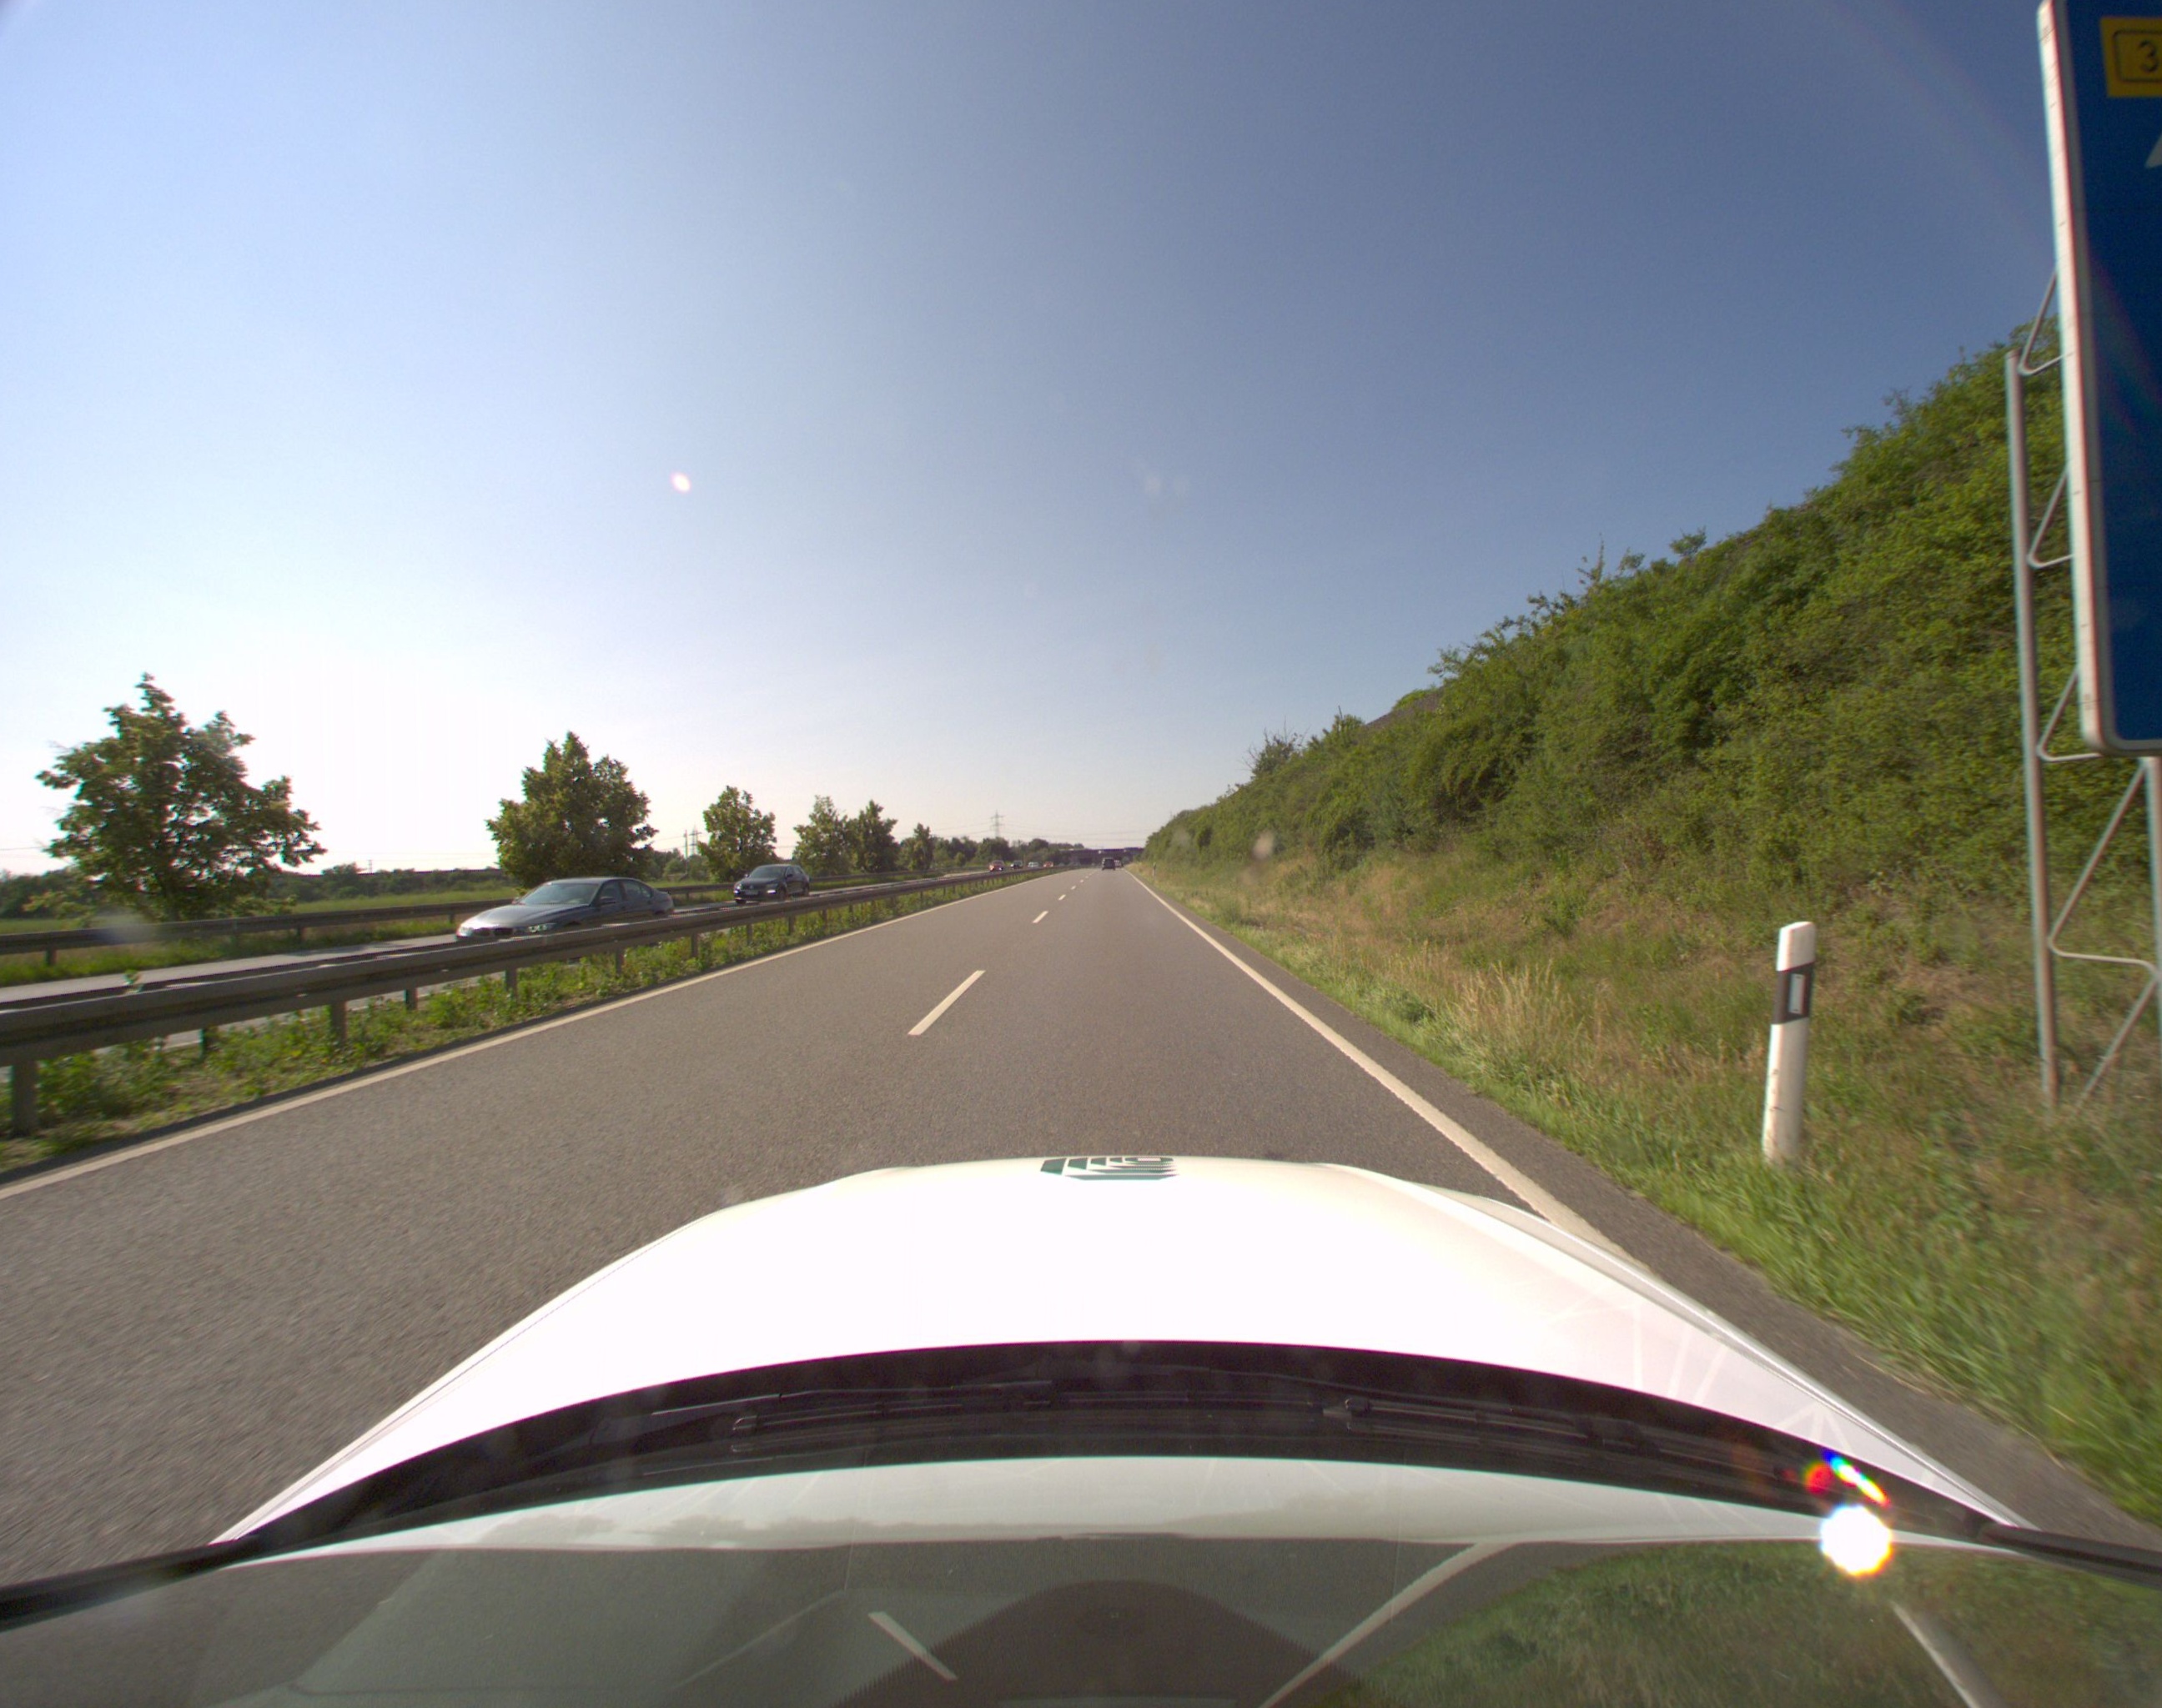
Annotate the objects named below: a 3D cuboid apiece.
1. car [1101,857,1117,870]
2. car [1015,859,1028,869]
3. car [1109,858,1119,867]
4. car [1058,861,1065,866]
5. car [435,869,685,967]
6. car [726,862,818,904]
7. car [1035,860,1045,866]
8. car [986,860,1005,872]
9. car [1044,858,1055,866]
[{"bbox_3d":[3.725,1.274,108.152,1.841,1.644,4.005,-1,-1,5],"label":"car"},{"bbox_3d":[-9.674,1.552,132.244,1.719,1.595,4.223,-1,-1,2],"label":"car"},{"bbox_3d":[6.374,1.547,155.621,1.788,1.665,4.005,1,0,4],"label":"car"},{"bbox_3d":[-5.947,2.915,248.709,1.707,1.450,4.323,-1,-1,1],"label":"car"},{"bbox_3d":[-9.841,1.112,15.905,1.805,1.542,4.457,-2,0,3],"label":"car"},{"bbox_3d":[-12.463,1.131,33.174,1.805,1.542,4.457,-2,0,3],"label":"car"},{"bbox_3d":[-9.452,2.087,188.713,1.814,1.396,4.417,1,-1,2],"label":"car"},{"bbox_3d":[-11.378,1.605,109.164,1.836,1.593,4.776,0,0,2],"label":"car"},{"bbox_3d":[-6.161,1.647,160.036,1.869,1.493,5.097,-1,-1,2],"label":"car"}]
